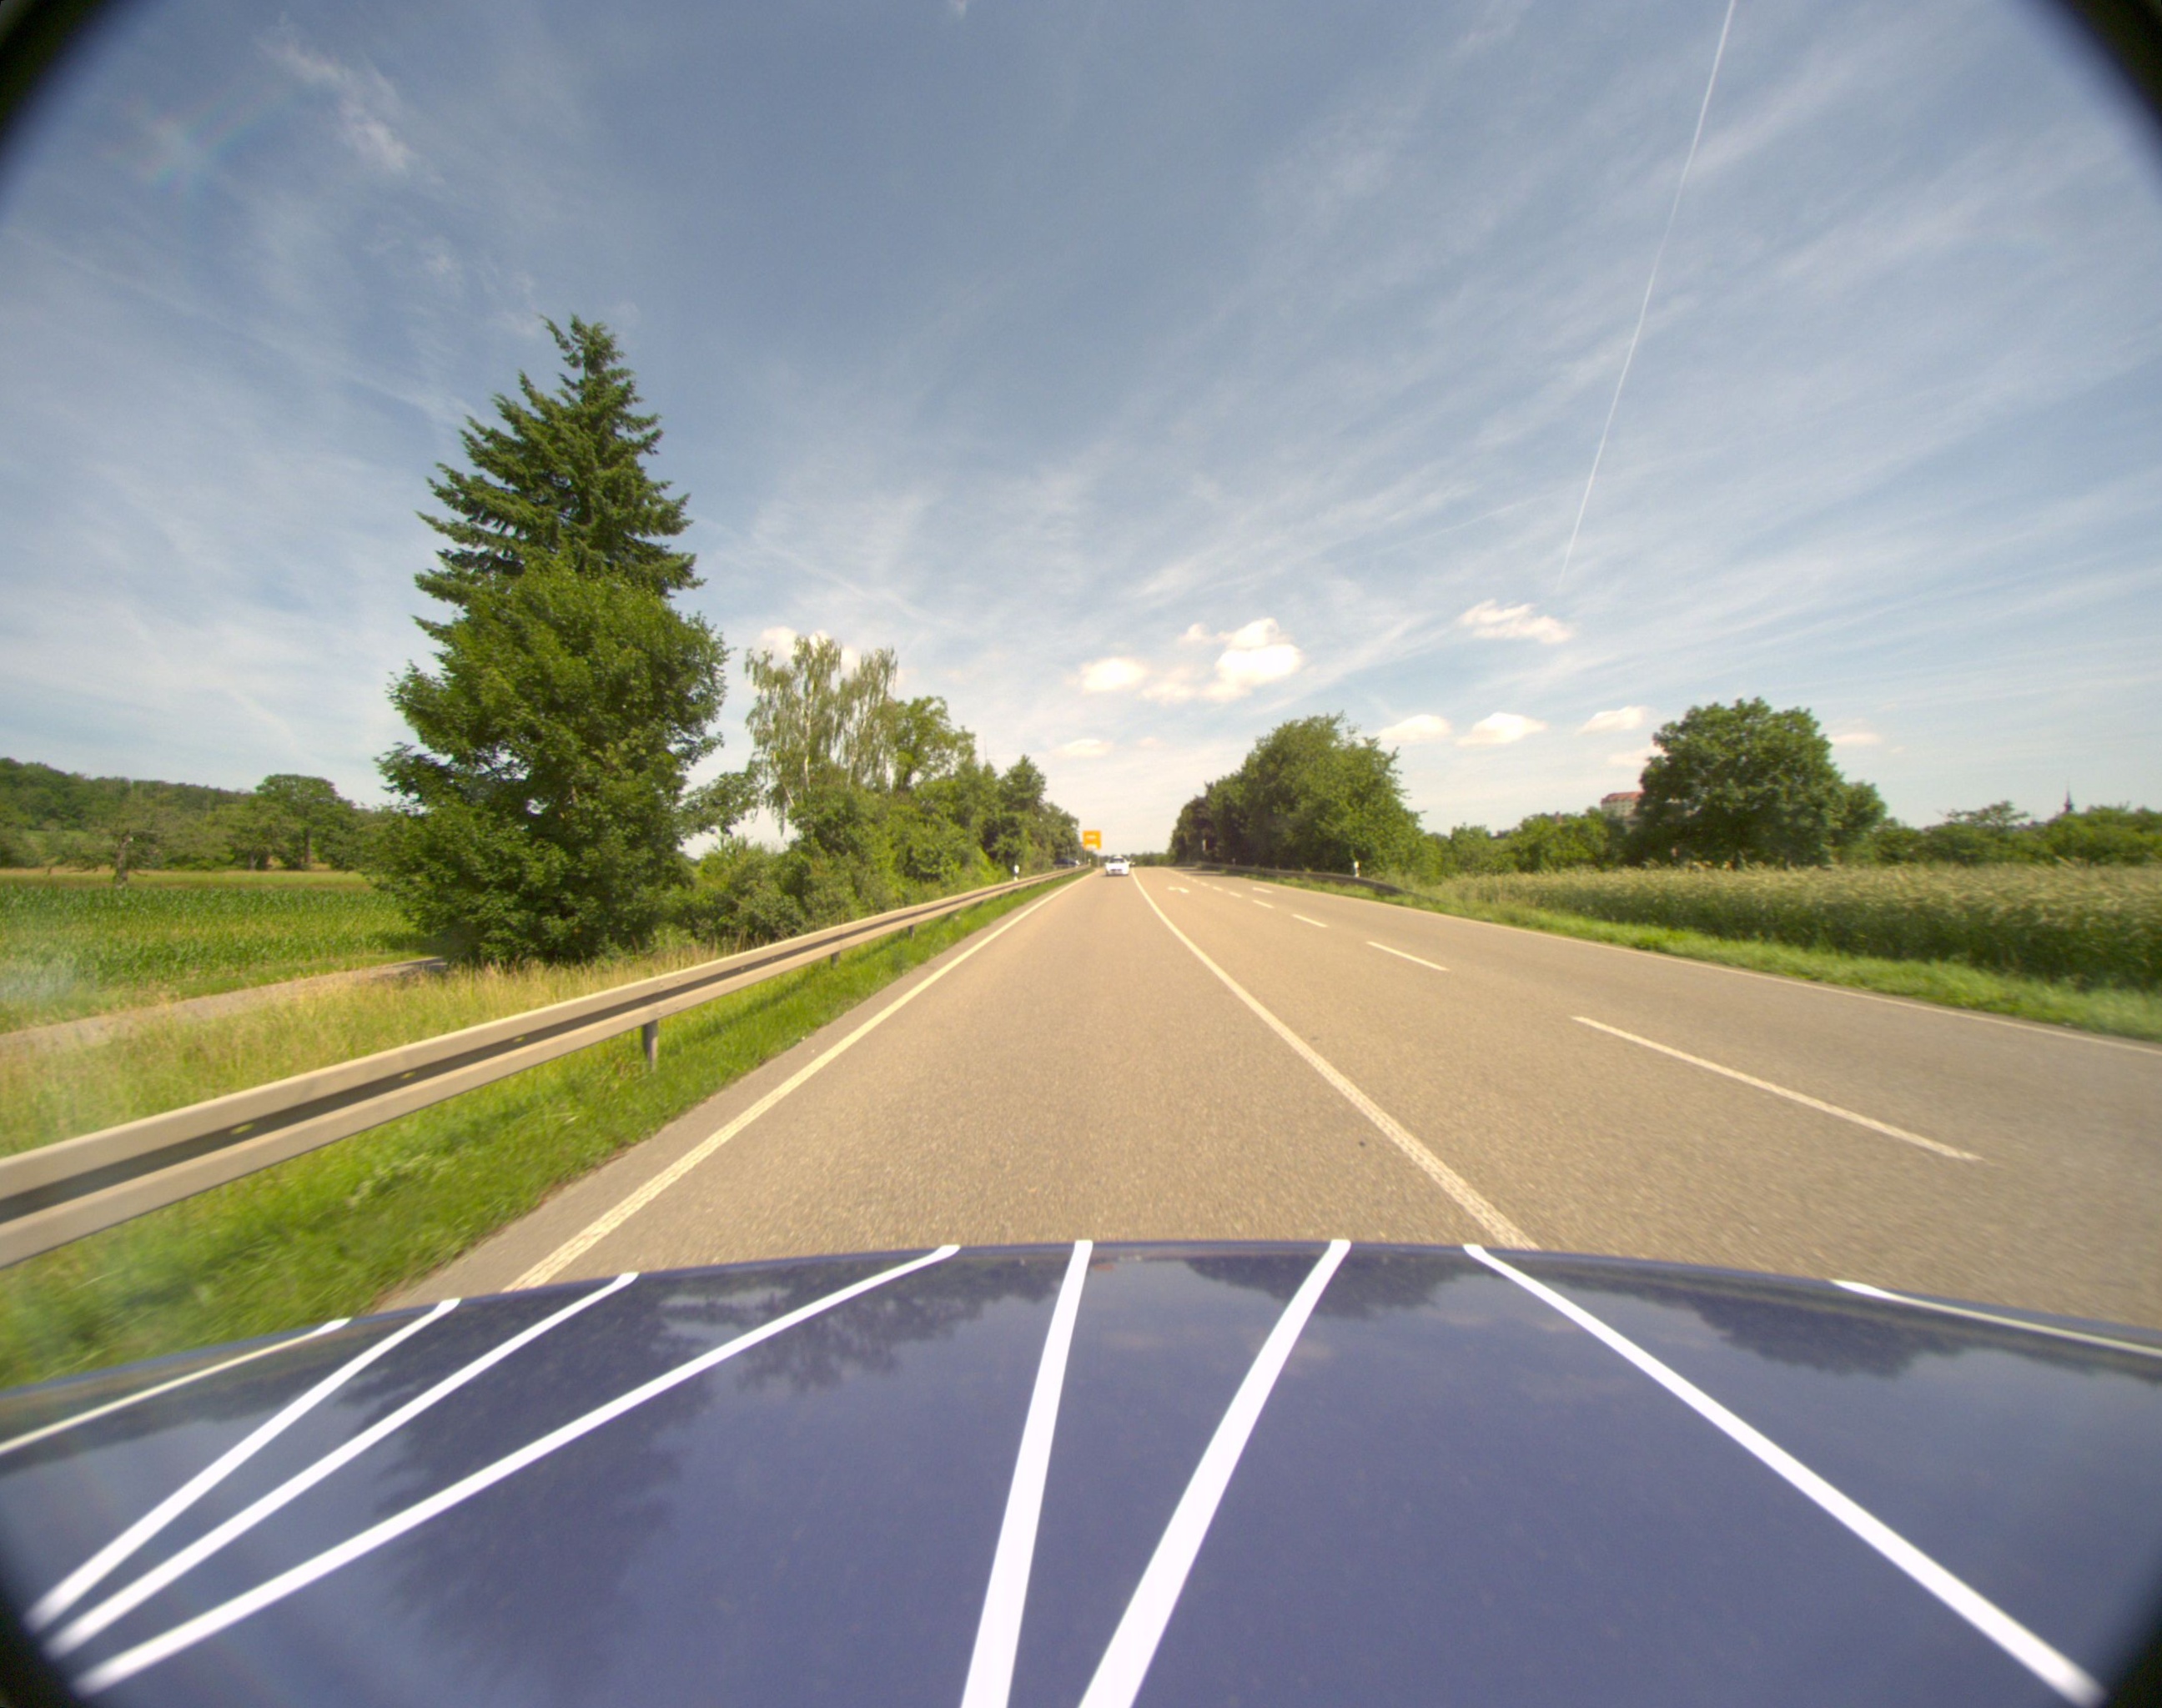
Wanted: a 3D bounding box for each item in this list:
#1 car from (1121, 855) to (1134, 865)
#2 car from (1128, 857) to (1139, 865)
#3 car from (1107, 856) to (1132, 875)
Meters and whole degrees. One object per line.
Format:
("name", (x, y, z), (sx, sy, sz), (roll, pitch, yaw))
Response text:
("car", (7.073, 0.920, 115.996), (1.928, 1.441, 4.078), (-1, -1, 3))
("car", (9.669, 1.330, 140.336), (1.929, 1.441, 4.001), (-1, -1, 2))
("car", (3.118, 0.932, 61.825), (1.929, 1.441, 4.535), (-1, 0, 2))
